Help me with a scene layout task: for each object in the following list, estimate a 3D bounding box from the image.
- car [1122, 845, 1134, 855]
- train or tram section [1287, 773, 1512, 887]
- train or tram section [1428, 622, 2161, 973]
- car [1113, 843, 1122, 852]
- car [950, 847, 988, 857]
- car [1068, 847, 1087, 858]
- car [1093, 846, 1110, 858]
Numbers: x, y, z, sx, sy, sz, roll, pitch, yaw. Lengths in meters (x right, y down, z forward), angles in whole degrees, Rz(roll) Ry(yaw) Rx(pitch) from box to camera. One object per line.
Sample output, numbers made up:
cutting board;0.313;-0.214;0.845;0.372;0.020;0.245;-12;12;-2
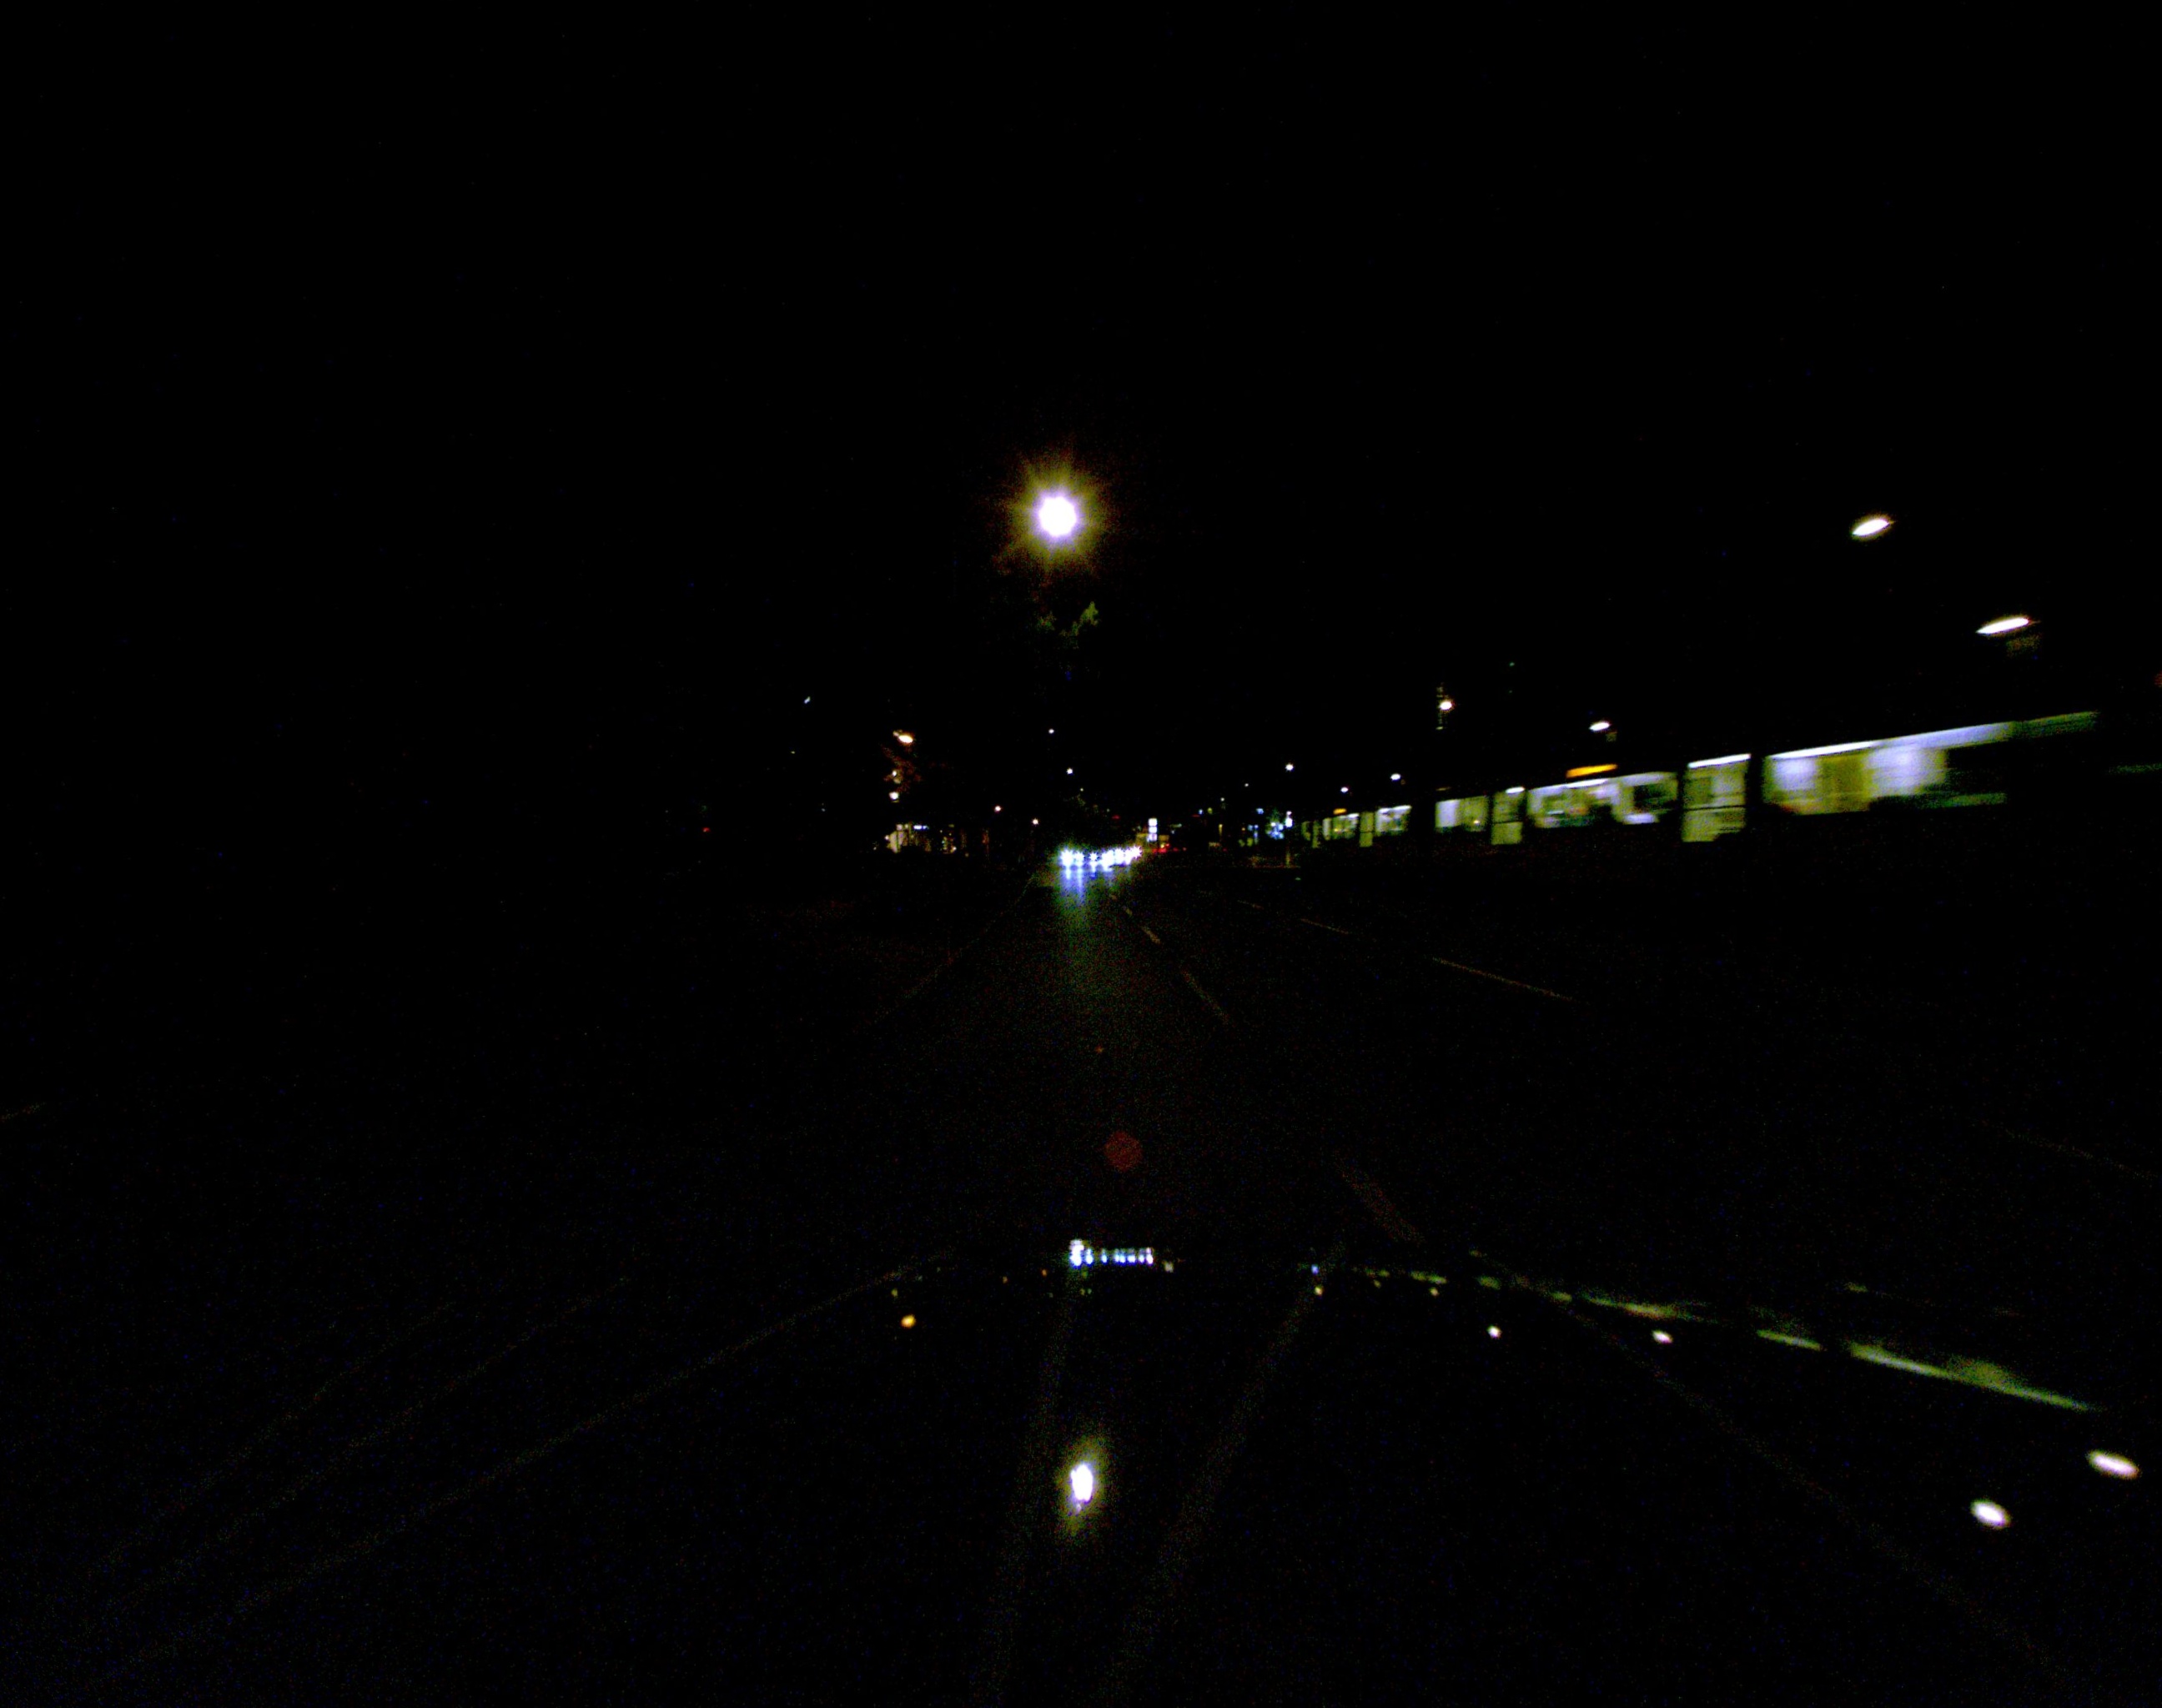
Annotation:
car;8.117;-0.760;132.526;1.908;1.609;3.718;-2;1;1
train or tram section;13.585;-0.909;35.797;2.745;3.824;19.362;-2;1;1
train or tram section;13.229;-0.726;16.737;2.765;3.805;18.668;-2;1;1
car;7.873;-1.446;164.082;1.827;1.696;4.000;-2;1;4
car;-12.354;-0.240;83.743;4.008;1.028;1.480;0;0;-41
car;-0.440;-0.194;96.713;1.947;1.299;3.907;0;1;6
car;2.633;-0.259;96.313;1.858;1.482;3.560;-2;0;6
